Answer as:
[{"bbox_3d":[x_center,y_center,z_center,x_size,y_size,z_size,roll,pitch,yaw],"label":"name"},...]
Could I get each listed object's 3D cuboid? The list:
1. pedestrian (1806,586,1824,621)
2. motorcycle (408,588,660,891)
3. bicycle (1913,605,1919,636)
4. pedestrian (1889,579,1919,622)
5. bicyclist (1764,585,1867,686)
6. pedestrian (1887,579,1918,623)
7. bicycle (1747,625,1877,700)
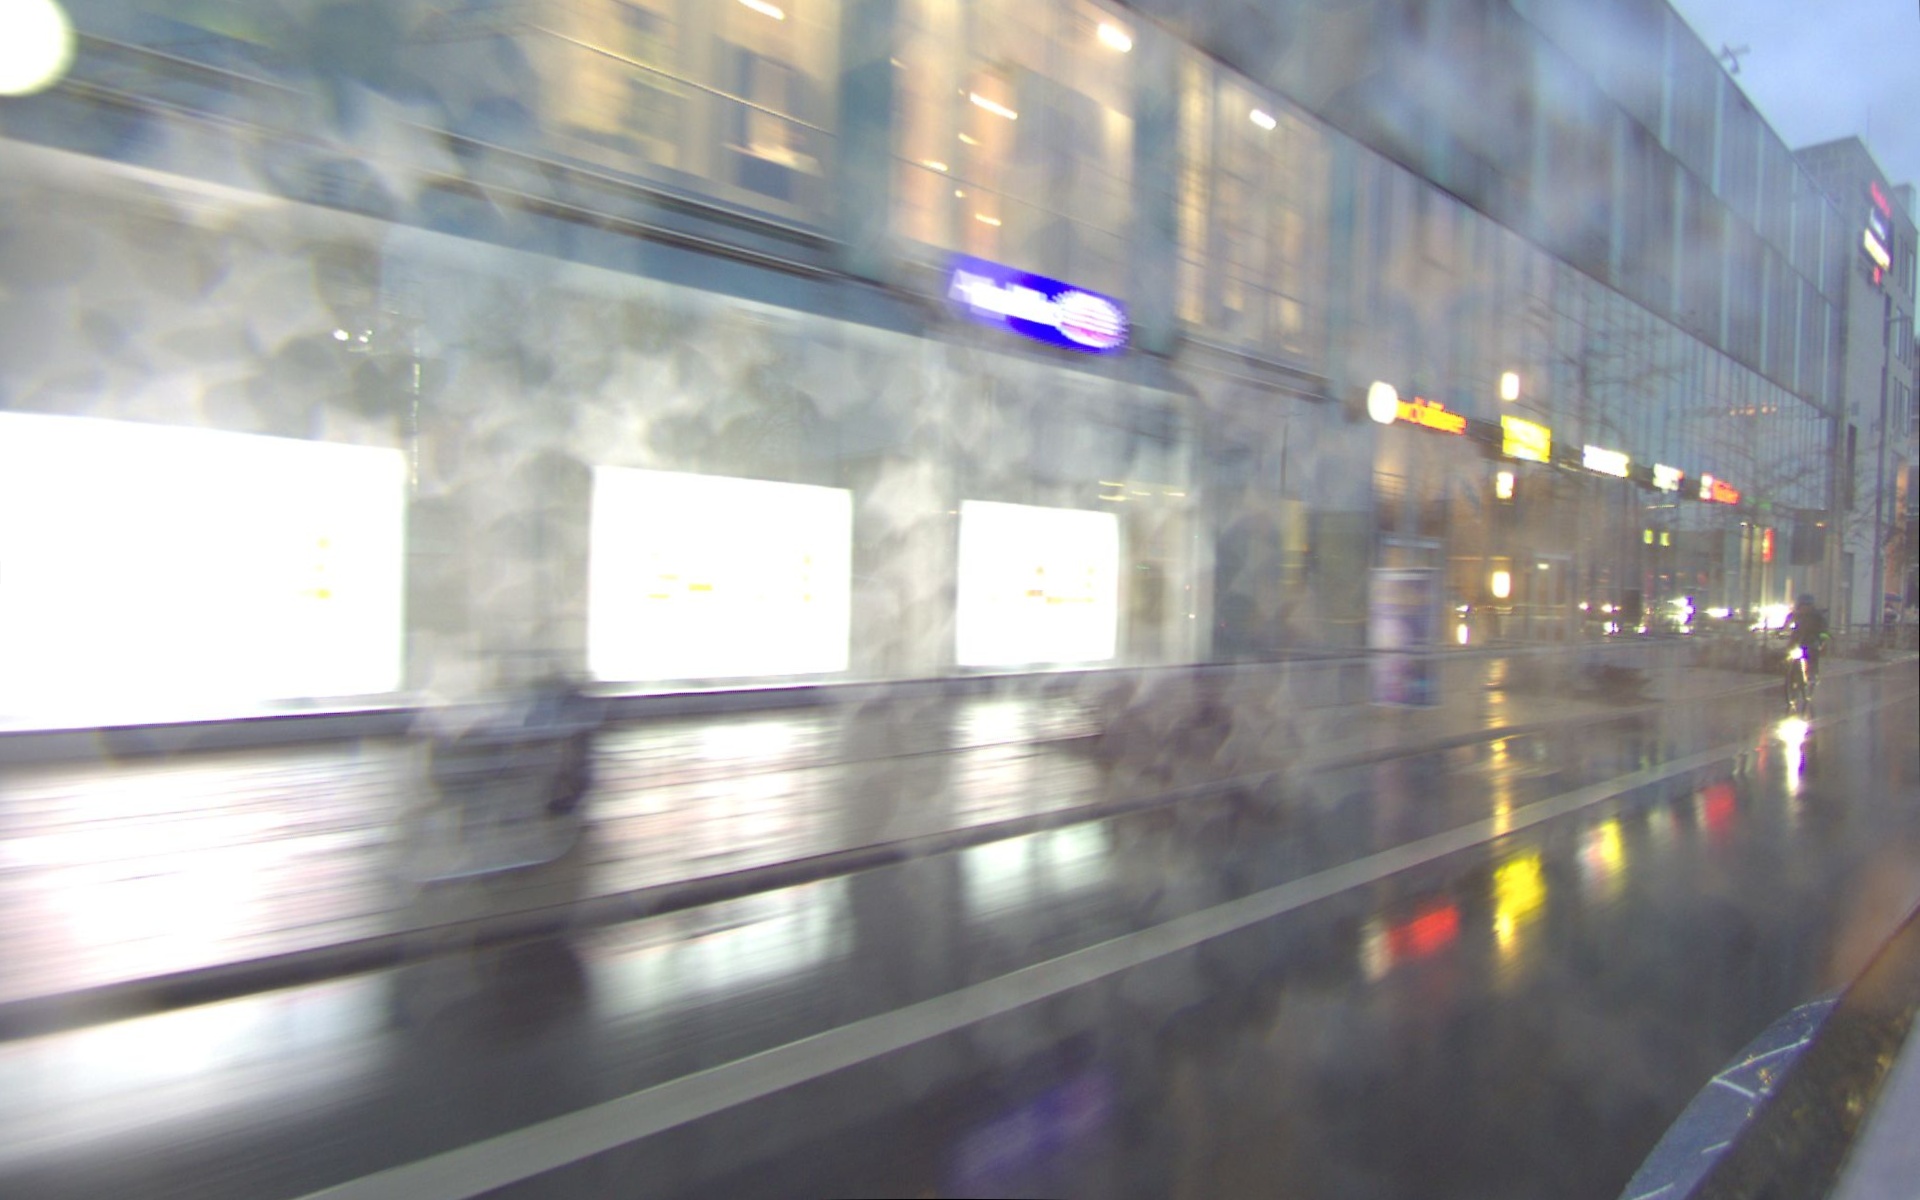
[{"bbox_3d":[45.576,0.173,53.954,0.612,1.828,0.616,1,0,-39],"label":"pedestrian"},{"bbox_3d":[-2.256,0.635,5.638,0.584,1.350,1.910,1,2,1],"label":"motorcycle"},{"bbox_3d":[38.051,0.832,38.949,0.655,1.189,1.908,1,3,-39],"label":"bicycle"},{"bbox_3d":[49.033,0.037,52.589,0.569,2.188,0.969,1,1,-27],"label":"pedestrian"},{"bbox_3d":[13.072,0.516,15.471,1.046,1.481,0.946,0,0,-34],"label":"bicyclist"},{"bbox_3d":[48.596,0.045,52.207,0.696,2.219,0.963,1,1,-27],"label":"pedestrian"},{"bbox_3d":[12.955,0.908,15.367,2.197,1.012,0.946,0,0,-34],"label":"bicycle"}]
